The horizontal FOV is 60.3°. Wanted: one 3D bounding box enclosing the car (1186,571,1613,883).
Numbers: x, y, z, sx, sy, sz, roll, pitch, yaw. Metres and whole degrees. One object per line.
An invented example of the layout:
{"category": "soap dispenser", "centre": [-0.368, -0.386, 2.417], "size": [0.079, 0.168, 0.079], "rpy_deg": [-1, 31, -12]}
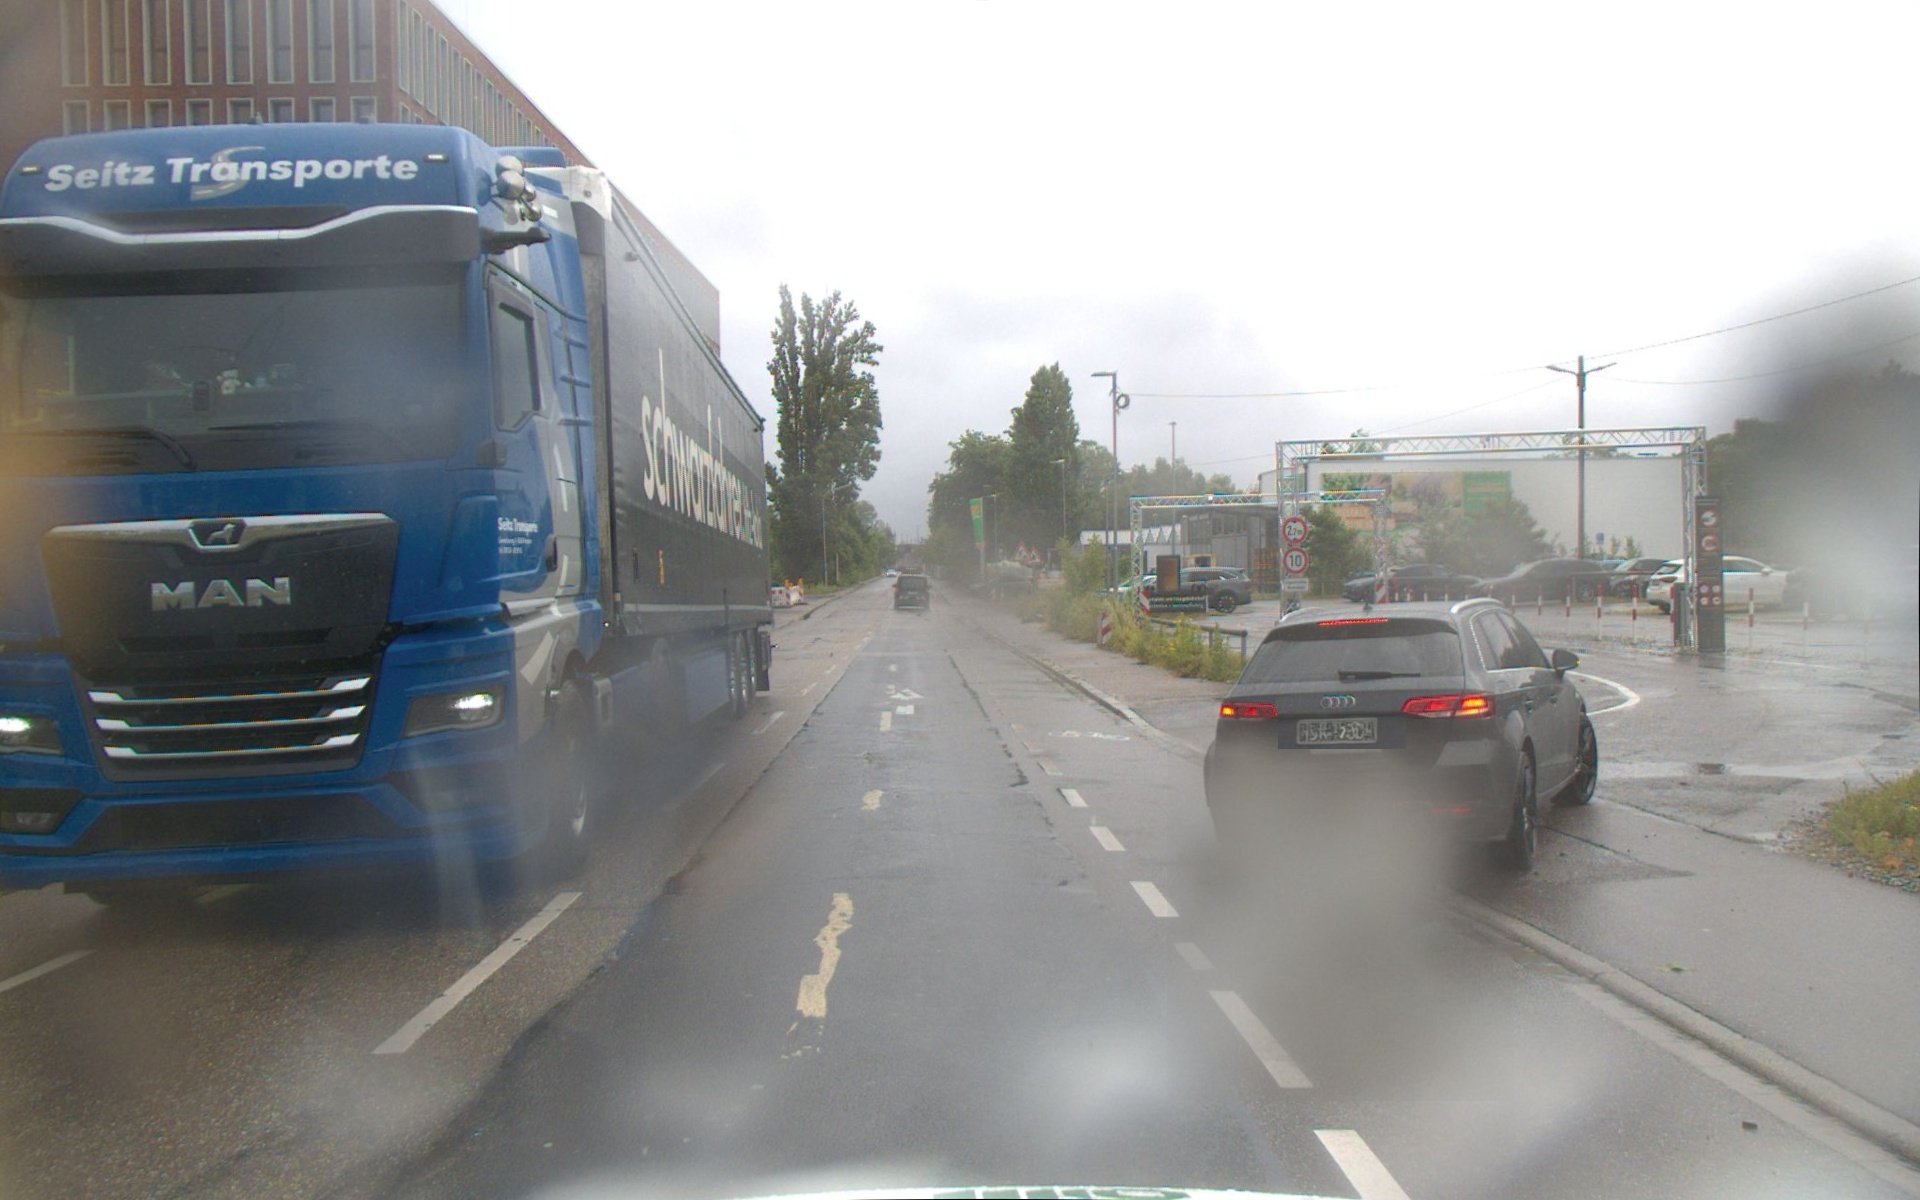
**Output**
{"category": "car", "centre": [2.988, 0.604, 10.507], "size": [1.857, 1.482, 4.224], "rpy_deg": [0, 2, 26]}

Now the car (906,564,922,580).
{"category": "car", "centre": [-5.199, -3.194, 187.896], "size": [1.694, 1.716, 3.898], "rpy_deg": [-1, 0, 1]}

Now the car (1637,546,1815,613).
{"category": "car", "centre": [20.100, -0.518, 43.517], "size": [3.751, 1.510, 1.928], "rpy_deg": [-3, -1, 1]}

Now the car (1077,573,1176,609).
{"category": "car", "centre": [7.189, -0.372, 71.743], "size": [4.097, 1.536, 1.890], "rpy_deg": [0, -1, -1]}

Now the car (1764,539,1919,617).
{"category": "car", "centre": [19.902, -0.496, 35.833], "size": [3.962, 1.510, 1.928], "rpy_deg": [-3, -1, 1]}

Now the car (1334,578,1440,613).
{"category": "car", "centre": [17.875, -0.191, 69.367], "size": [3.906, 1.434, 2.000], "rpy_deg": [0, -1, -1]}

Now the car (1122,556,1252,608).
{"category": "car", "centre": [8.429, -0.656, 61.753], "size": [4.583, 1.765, 2.129], "rpy_deg": [-2, -1, 3]}

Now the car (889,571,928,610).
{"category": "car", "centre": [-2.669, -0.482, 84.903], "size": [1.954, 1.943, 4.199], "rpy_deg": [-1, 0, -3]}

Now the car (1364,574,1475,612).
{"category": "car", "centre": [18.385, -0.265, 66.295], "size": [3.906, 1.511, 2.000], "rpy_deg": [0, -1, -1]}

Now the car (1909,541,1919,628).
{"category": "car", "centre": [19.614, -0.395, 30.004], "size": [3.697, 1.611, 1.787], "rpy_deg": [-3, -1, 1]}

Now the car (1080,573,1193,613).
{"category": "car", "centre": [6.862, -0.265, 64.610], "size": [4.208, 1.543, 1.819], "rpy_deg": [0, -1, -1]}

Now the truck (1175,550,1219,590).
{"category": "truck", "centre": [17.085, -2.154, 119.555], "size": [2.253, 2.705, 7.418], "rpy_deg": [-2, 1, 2]}

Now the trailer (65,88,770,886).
{"category": "trailer", "centre": [-4.017, -0.746, 16.777], "size": [3.228, 4.735, 13.725], "rpy_deg": [-1, 0, -3]}

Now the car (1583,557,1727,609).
{"category": "car", "centre": [25.301, -0.609, 60.311], "size": [4.352, 1.633, 2.043], "rpy_deg": [-3, -1, -2]}

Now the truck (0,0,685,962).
{"category": "truck", "centre": [-3.719, -0.821, 10.252], "size": [3.228, 4.735, 6.029], "rpy_deg": [-1, 0, -3]}

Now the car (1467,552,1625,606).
{"category": "car", "centre": [19.353, -0.671, 54.725], "size": [4.532, 1.746, 2.016], "rpy_deg": [0, -1, -8]}

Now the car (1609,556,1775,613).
{"category": "car", "centre": [24.452, -0.492, 55.349], "size": [4.608, 1.633, 2.043], "rpy_deg": [-3, -1, -2]}

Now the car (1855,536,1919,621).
{"category": "car", "centre": [20.128, -0.506, 32.697], "size": [3.823, 1.611, 1.787], "rpy_deg": [-3, -1, 1]}
